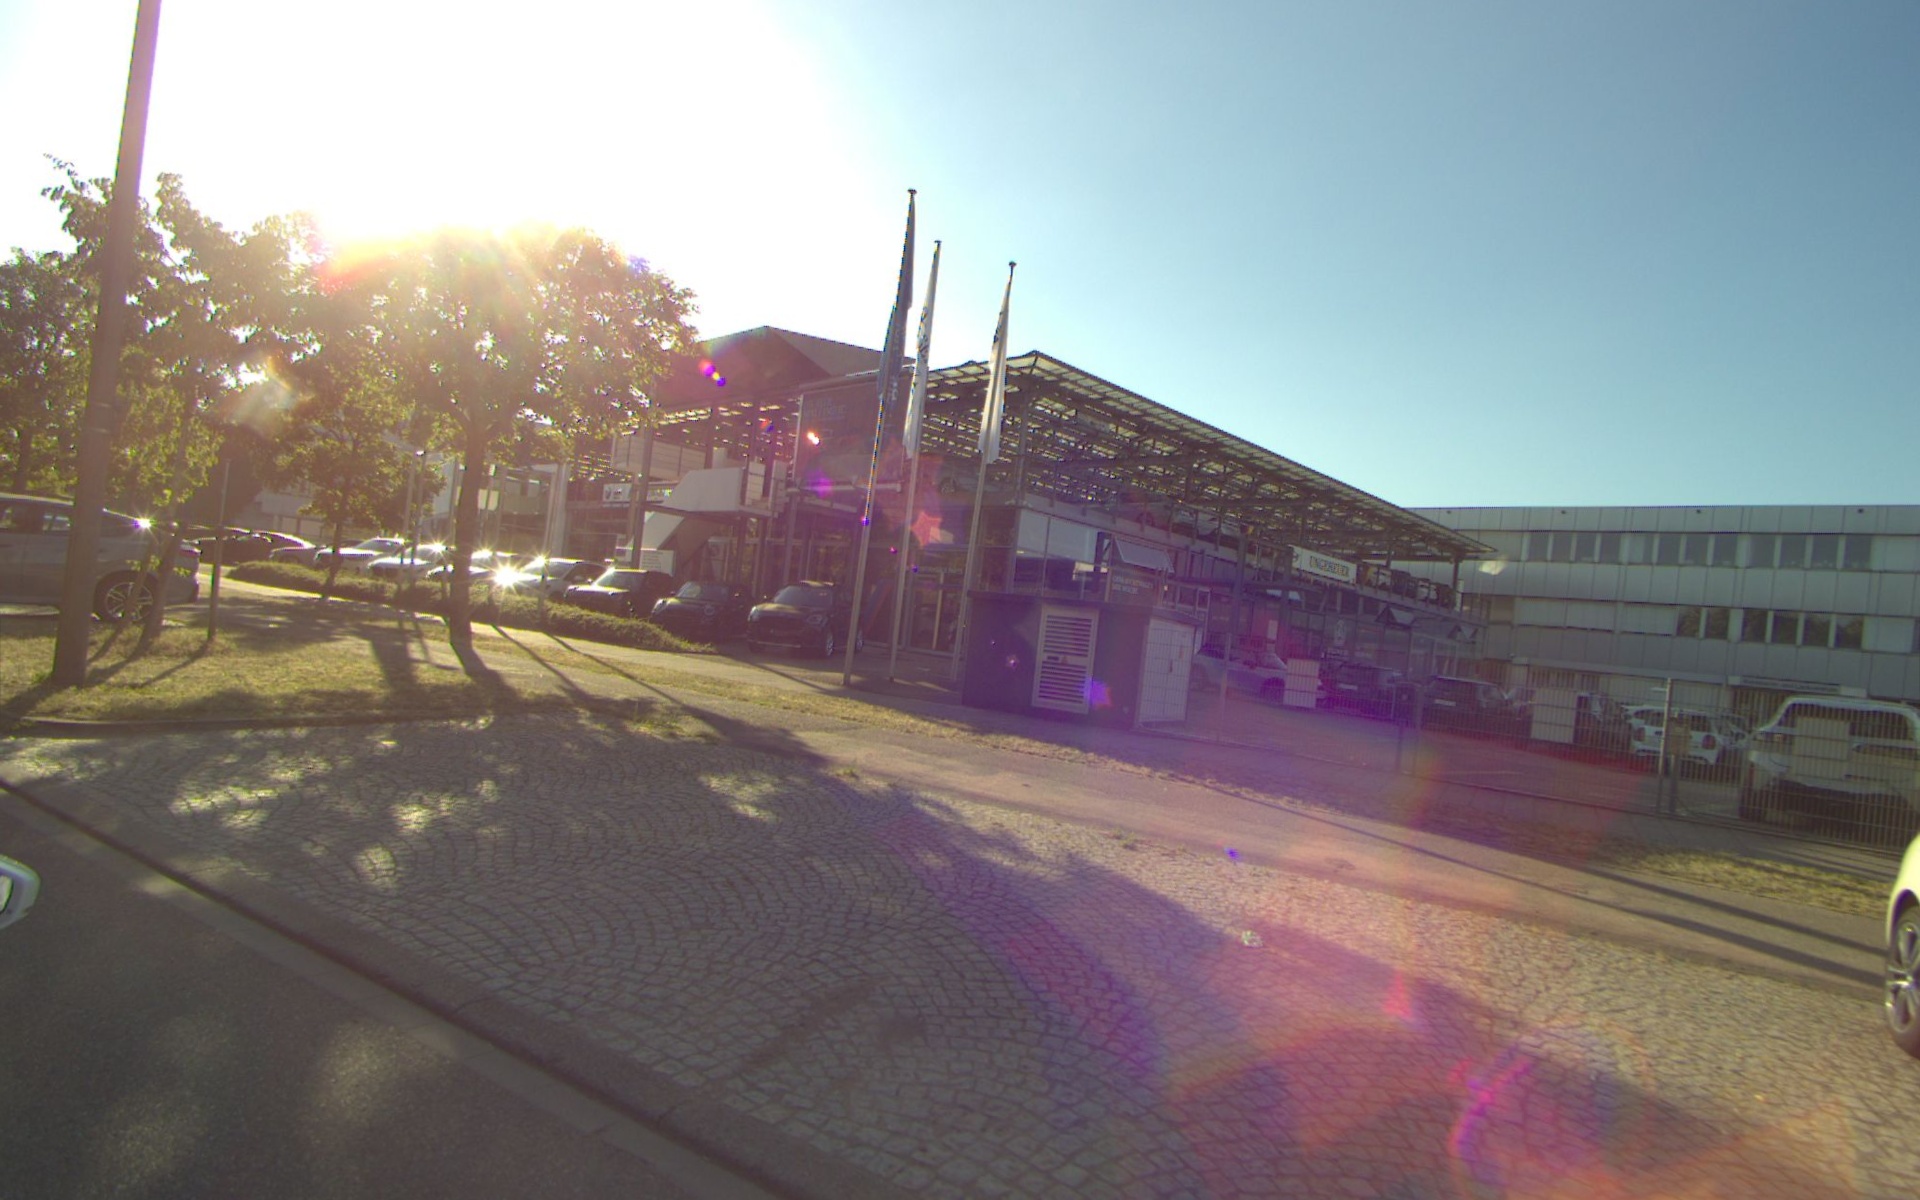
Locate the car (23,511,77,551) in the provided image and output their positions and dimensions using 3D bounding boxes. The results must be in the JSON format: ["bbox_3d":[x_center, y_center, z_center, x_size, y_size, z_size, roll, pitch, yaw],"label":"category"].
[{"bbox_3d":[-50.313,-3.797,55.656,2.024,1.850,4.918,7,-1,-42],"label":"car"}]

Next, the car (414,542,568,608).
[{"bbox_3d":[-13.670,-0.661,29.658,1.962,1.593,4.606,6,0,5],"label":"car"}]

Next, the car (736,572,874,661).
[{"bbox_3d":[-3.491,0.388,23.626,1.962,1.687,4.606,6,0,6],"label":"car"}]

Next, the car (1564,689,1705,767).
[{"bbox_3d":[18.383,3.489,27.367,3.969,1.599,1.977,7,3,-40],"label":"car"}]

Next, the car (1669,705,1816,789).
[{"bbox_3d":[20.099,3.743,25.800,3.969,1.599,1.977,7,3,-40],"label":"car"}]

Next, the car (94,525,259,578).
[{"bbox_3d":[-31.251,-1.896,40.277,4.712,1.481,1.996,6,-1,-13],"label":"car"}]

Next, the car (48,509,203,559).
[{"bbox_3d":[-36.506,-2.862,44.145,4.717,1.481,1.993,7,-1,-17],"label":"car"}]

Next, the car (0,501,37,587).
[{"bbox_3d":[-18.680,-1.182,16.634,1.967,1.474,4.629,6,0,31],"label":"car"}]

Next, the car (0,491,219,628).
[{"bbox_3d":[-12.585,-0.603,12.822,1.966,1.604,4.597,6,0,28],"label":"car"}]

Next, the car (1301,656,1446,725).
[{"bbox_3d":[11.474,2.523,27.818,3.969,1.464,1.978,7,1,-40],"label":"car"}]

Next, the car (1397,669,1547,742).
[{"bbox_3d":[13.522,2.801,26.502,3.969,1.464,1.978,7,1,-40],"label":"car"}]

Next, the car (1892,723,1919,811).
[{"bbox_3d":[19.824,3.341,19.565,3.969,1.596,1.980,7,-4,-40],"label":"car"}]

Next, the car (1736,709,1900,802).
[{"bbox_3d":[18.258,3.260,21.344,3.969,1.596,1.980,7,-4,-40],"label":"car"}]

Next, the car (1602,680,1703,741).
[{"bbox_3d":[23.972,3.848,34.776,3.974,1.762,1.976,7,-1,-43],"label":"car"}]

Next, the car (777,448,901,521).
[{"bbox_3d":[-4.224,-4.022,35.655,1.764,1.684,3.982,6,-4,45],"label":"car"}]

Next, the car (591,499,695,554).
[{"bbox_3d":[-14.323,-3.321,45.639,1.764,1.684,3.983,6,-4,44],"label":"car"}]

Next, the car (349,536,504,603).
[{"bbox_3d":[-16.484,-0.888,31.420,1.962,1.593,4.608,6,-1,5],"label":"car"}]

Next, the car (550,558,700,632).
[{"bbox_3d":[-8.696,-0.088,26.593,1.962,1.593,4.606,6,0,5],"label":"car"}]

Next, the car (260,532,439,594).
[{"bbox_3d":[-22.224,-1.300,36.872,5.107,1.590,1.996,6,-1,-13],"label":"car"}]

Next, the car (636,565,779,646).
[{"bbox_3d":[-6.208,0.165,25.363,1.962,1.687,4.606,6,0,5],"label":"car"}]

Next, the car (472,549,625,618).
[{"bbox_3d":[-11.359,-0.395,28.160,1.962,1.593,4.606,6,0,5],"label":"car"}]

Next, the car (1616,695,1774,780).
[{"bbox_3d":[16.801,3.128,22.945,3.969,1.596,1.980,7,-4,-40],"label":"car"}]

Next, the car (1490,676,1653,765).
[{"bbox_3d":[14.648,2.893,24.037,3.969,1.599,1.977,7,3,-40],"label":"car"}]

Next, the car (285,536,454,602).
[{"bbox_3d":[-19.122,-0.940,32.900,2.365,1.711,4.730,6,0,5],"label":"car"}]

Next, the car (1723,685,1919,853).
[{"bbox_3d":[11.295,2.053,12.595,3.973,1.597,1.977,7,-1,-42],"label":"car"}]

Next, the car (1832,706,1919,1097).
[{"bbox_3d":[4.228,1.215,2.612,2.053,1.462,4.204,6,0,30],"label":"car"}]

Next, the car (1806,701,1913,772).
[{"bbox_3d":[27.573,4.156,30.797,3.974,1.762,1.976,7,-1,-43],"label":"car"}]

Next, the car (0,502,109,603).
[{"bbox_3d":[-16.182,-0.903,15.398,1.967,1.498,4.380,6,0,31],"label":"car"}]

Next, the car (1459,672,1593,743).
[{"bbox_3d":[16.713,3.190,29.671,3.969,1.599,1.977,7,3,-40],"label":"car"}]
